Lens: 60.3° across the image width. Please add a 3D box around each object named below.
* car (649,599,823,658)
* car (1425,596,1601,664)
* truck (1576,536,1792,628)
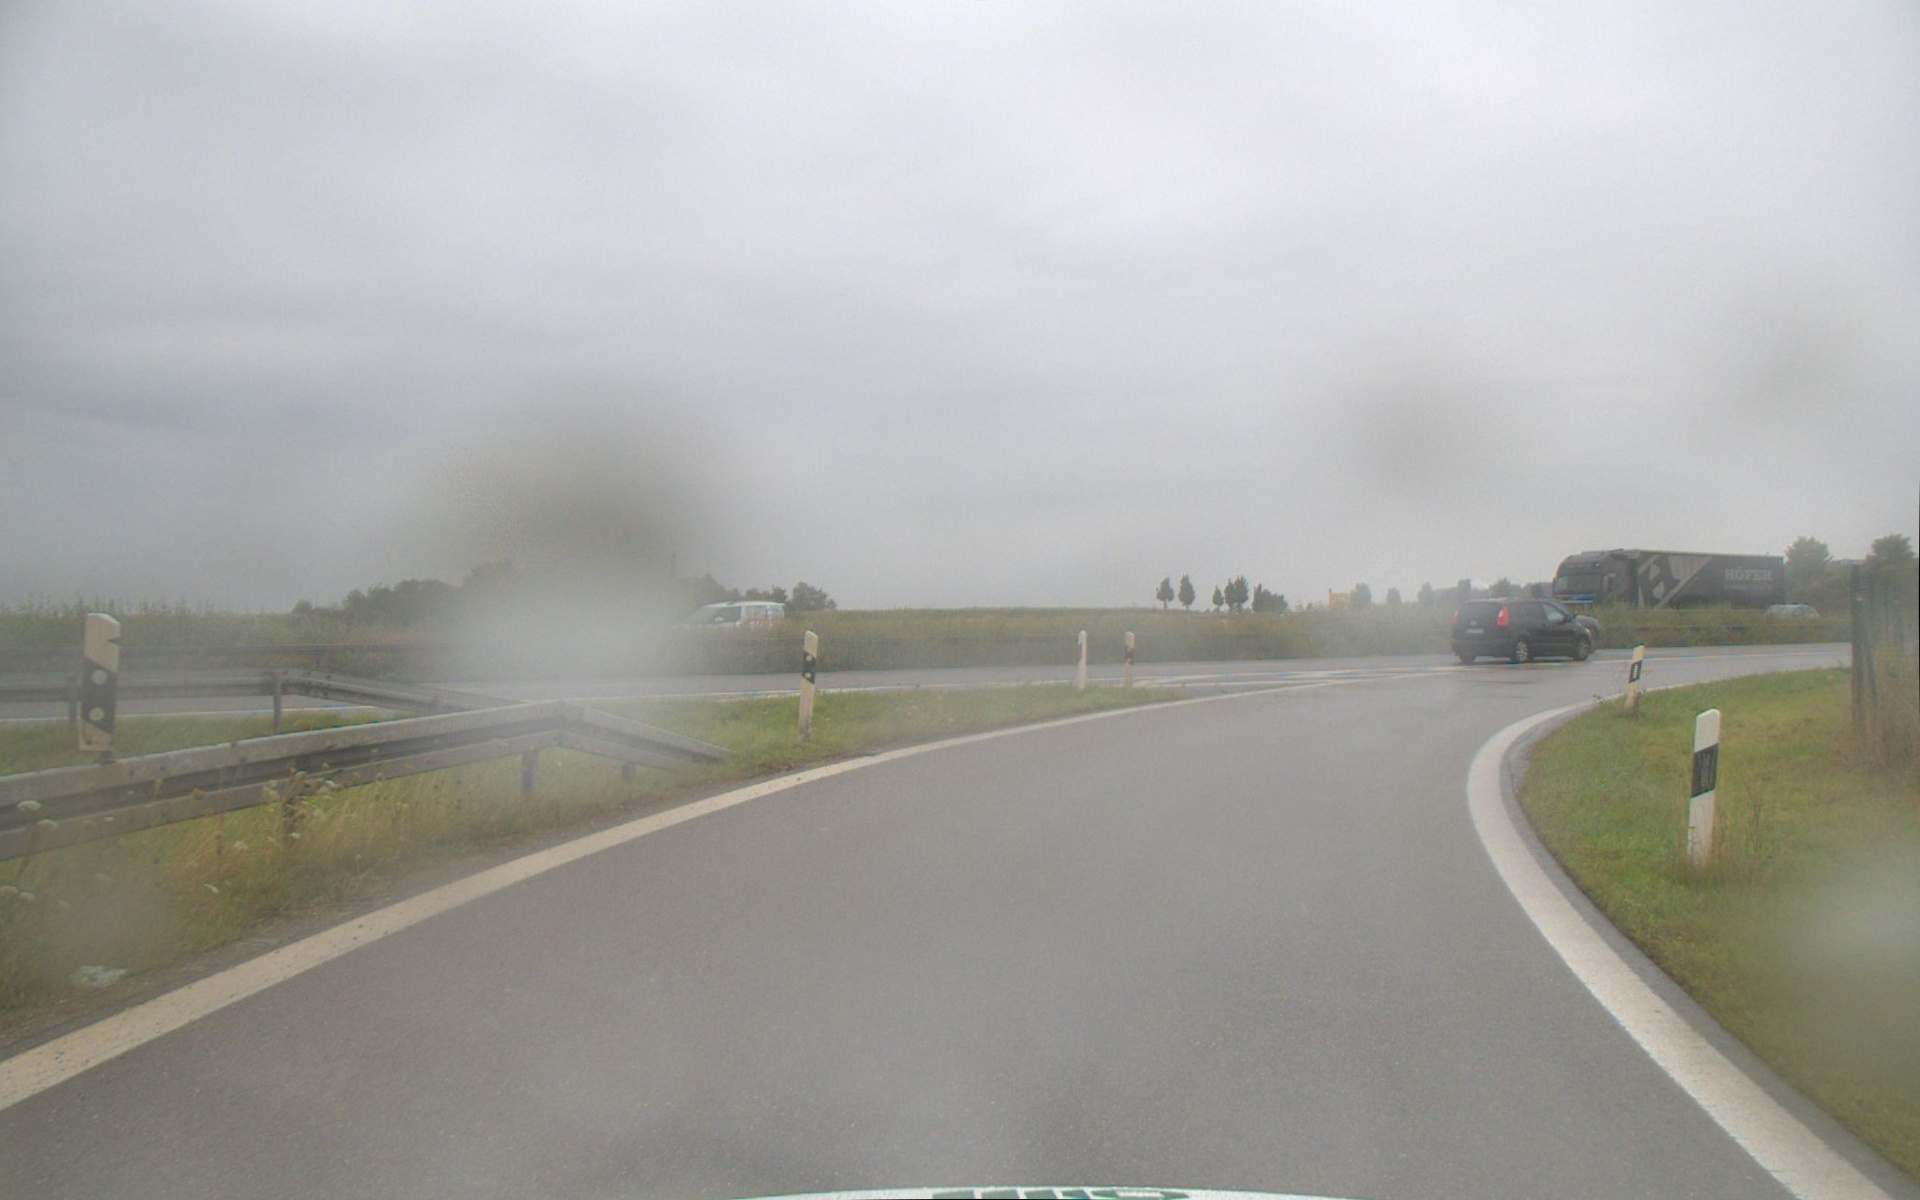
[{"bbox_3d":[-6.307,0.770,46.798,4.484,1.566,2.083,0,0,-38],"label":"car"},{"bbox_3d":[14.201,0.753,42.408,4.546,1.665,2.124,1,-1,-38],"label":"car"},{"bbox_3d":[34.384,-0.819,78.123,13.667,4.035,3.163,0,1,-38],"label":"truck"}]
